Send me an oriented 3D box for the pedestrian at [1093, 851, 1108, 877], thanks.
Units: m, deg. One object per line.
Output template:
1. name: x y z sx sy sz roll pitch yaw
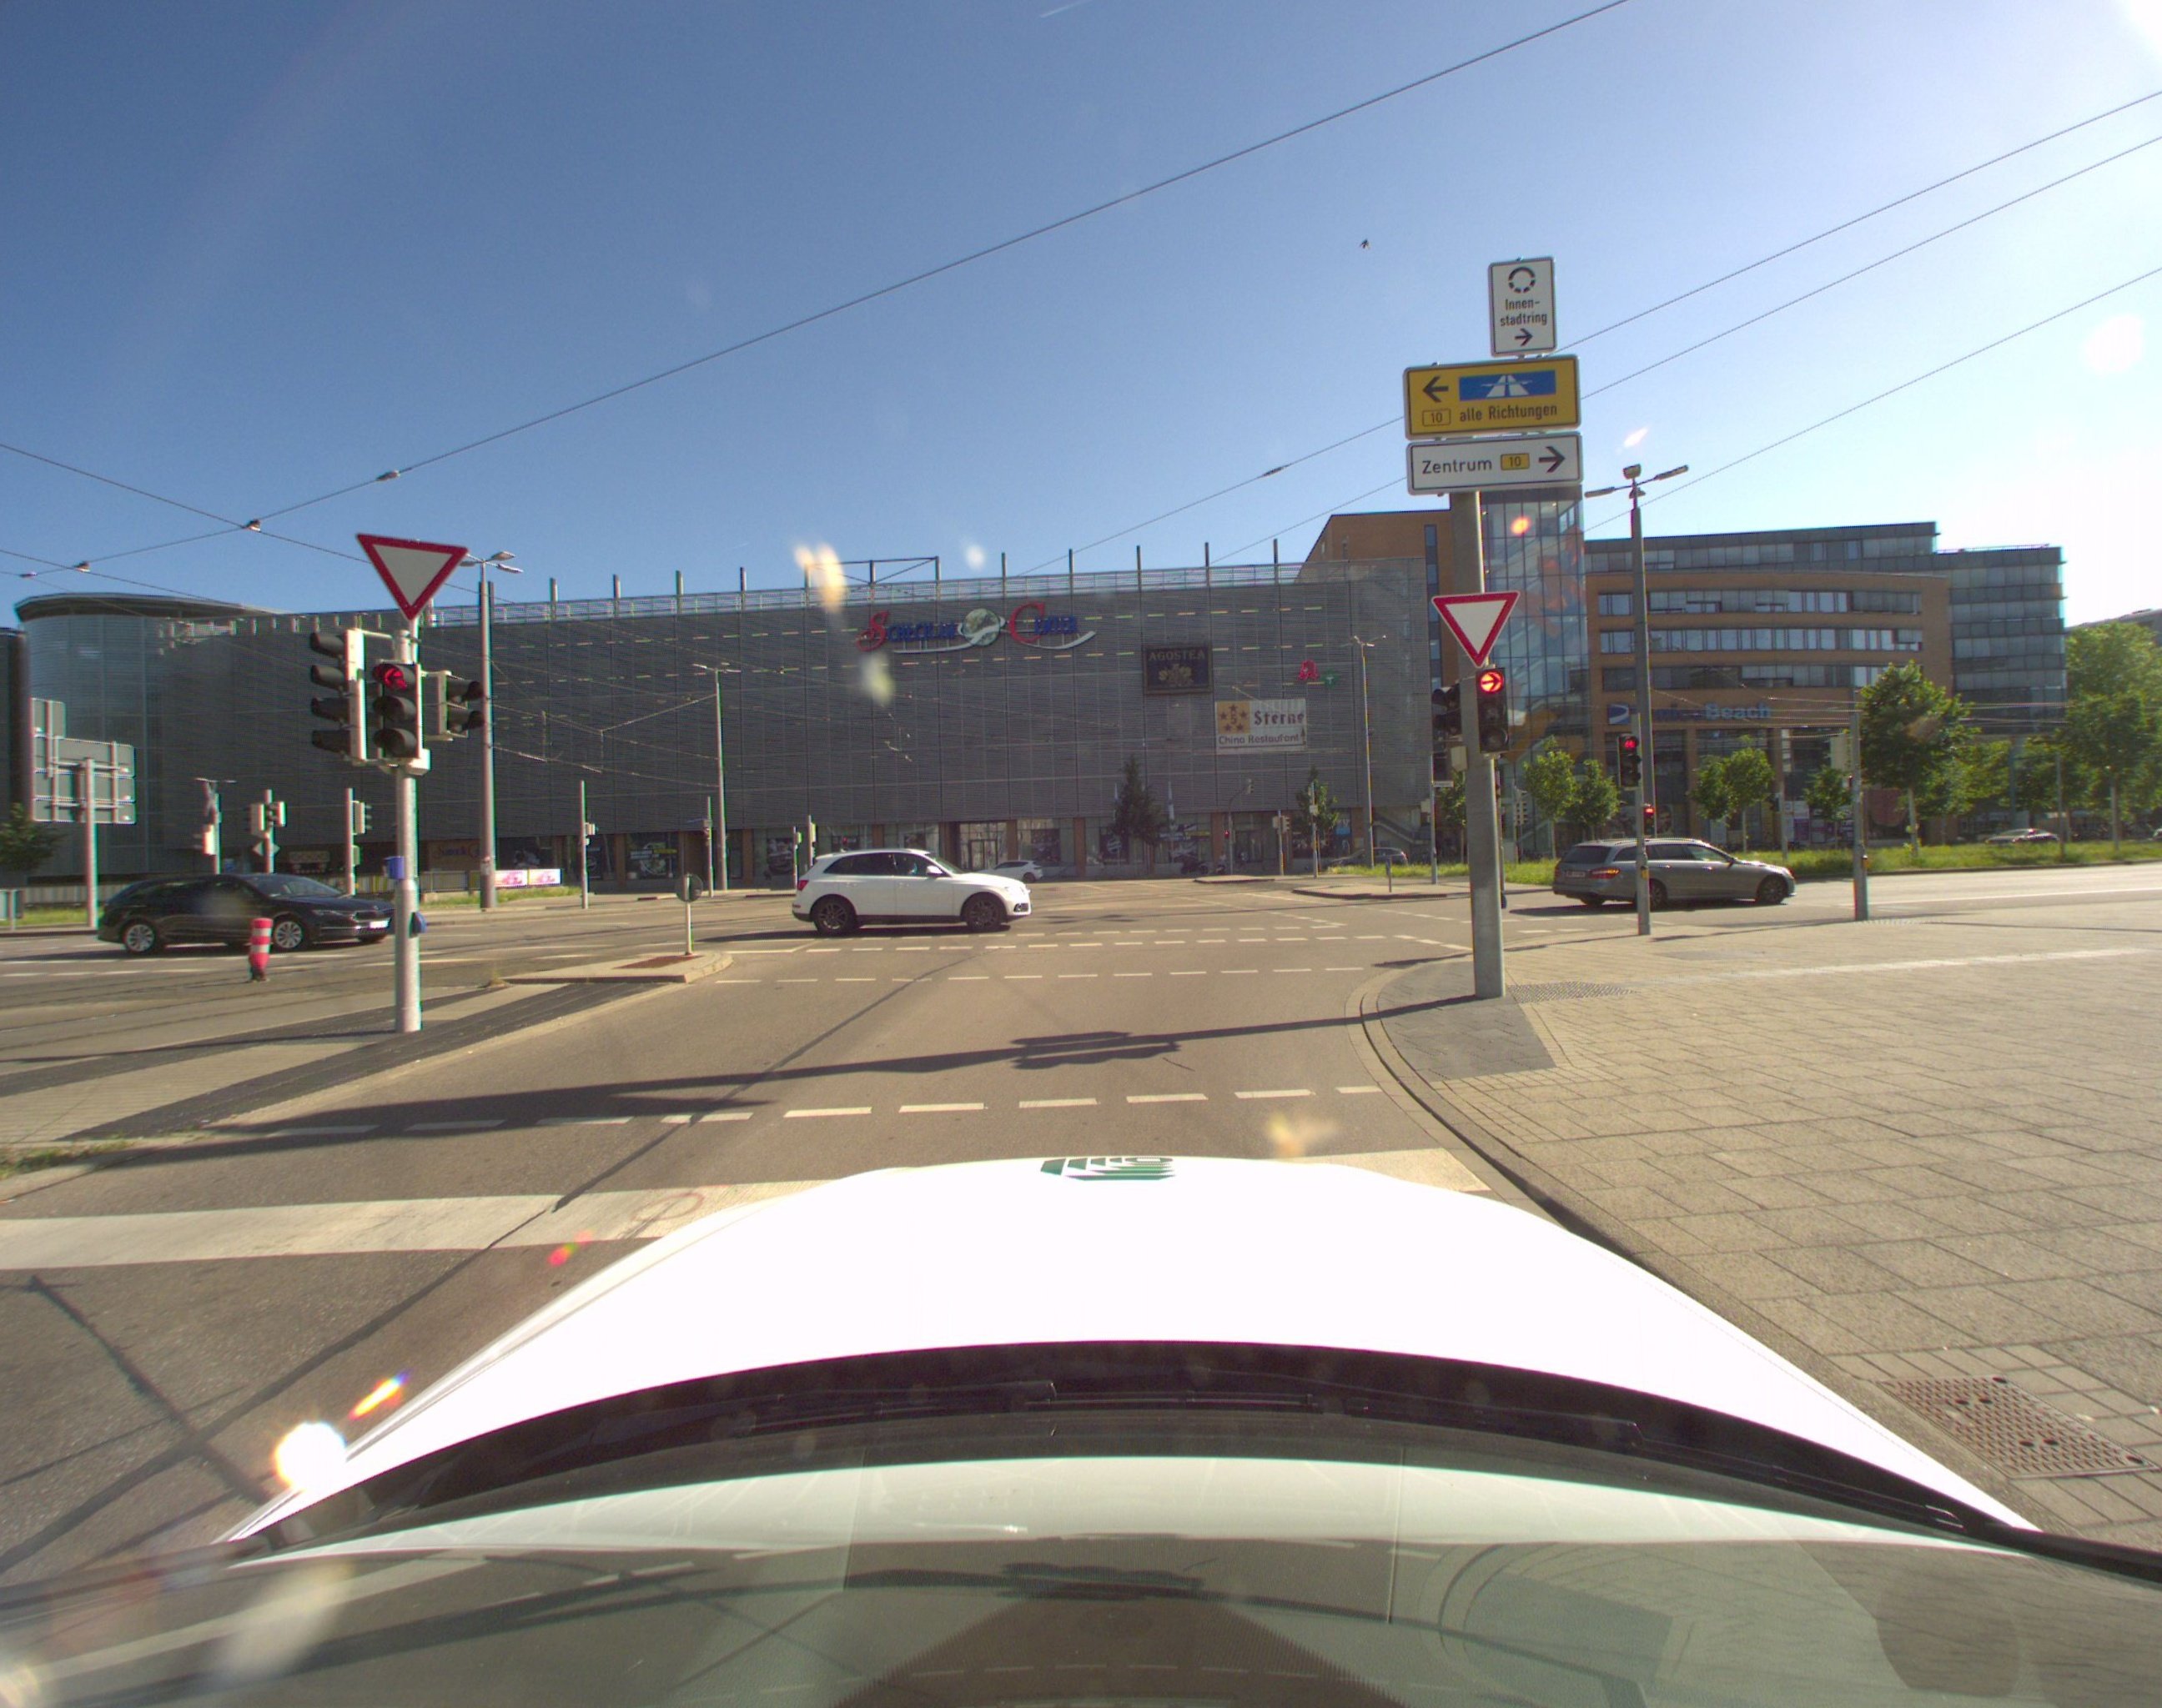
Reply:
1. pedestrian: 1.458 0.716 59.856 0.945 1.829 0.847 -3 -4 7

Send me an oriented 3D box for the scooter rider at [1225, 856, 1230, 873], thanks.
1. scooter rider: 9.901 0.708 54.944 0.286 1.200 0.387 -1 -1 12

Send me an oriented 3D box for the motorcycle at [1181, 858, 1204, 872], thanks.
1. motorcycle: 8.306 0.833 60.591 1.630 1.004 0.448 0 0 8

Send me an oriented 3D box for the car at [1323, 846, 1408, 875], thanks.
1. car: 15.877 0.350 45.615 4.132 1.470 1.841 2 -1 0

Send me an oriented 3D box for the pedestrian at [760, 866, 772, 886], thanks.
1. pedestrian: -24.282 1.694 62.824 0.654 1.601 0.597 -1 -1 20

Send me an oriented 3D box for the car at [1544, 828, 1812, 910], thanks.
1. car: 12.995 0.307 17.861 4.850 1.572 1.703 -2 0 -6

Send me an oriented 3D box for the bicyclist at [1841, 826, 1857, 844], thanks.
1. bicyclist: 59.981 -1.454 63.597 0.750 1.386 0.566 -2 1 1

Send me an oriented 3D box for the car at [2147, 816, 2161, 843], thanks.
1. car: 79.764 -1.820 58.611 4.326 1.863 1.835 -1 -1 -10

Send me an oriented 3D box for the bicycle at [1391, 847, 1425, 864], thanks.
1. bicycle: 24.337 0.114 60.614 2.247 1.296 0.606 0 -1 0

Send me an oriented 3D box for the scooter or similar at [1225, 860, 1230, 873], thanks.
1. scooter or similar: 9.914 0.871 55.002 0.293 0.873 1.007 -1 -1 12

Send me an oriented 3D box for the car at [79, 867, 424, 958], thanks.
1. car: -15.686 1.071 15.591 4.653 1.462 1.833 -2 0 0

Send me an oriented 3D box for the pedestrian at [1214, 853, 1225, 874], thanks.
1. pedestrian: 9.399 0.633 55.197 0.650 1.414 0.853 -1 -1 12

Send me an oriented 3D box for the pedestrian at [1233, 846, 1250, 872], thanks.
1. pedestrian: 11.631 0.345 59.168 1.007 1.828 1.037 -3 0 5

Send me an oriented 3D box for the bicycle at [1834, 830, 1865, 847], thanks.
1. bicycle: 60.030 -1.208 63.599 1.850 1.217 0.569 -2 1 1

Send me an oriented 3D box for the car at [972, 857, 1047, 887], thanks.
1. car: -4.273 1.080 49.381 4.274 1.645 1.841 2 -1 1

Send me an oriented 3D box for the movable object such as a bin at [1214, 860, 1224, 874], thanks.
1. movable object such as a bin: 9.266 0.884 54.734 0.608 0.904 0.972 -1 -1 12

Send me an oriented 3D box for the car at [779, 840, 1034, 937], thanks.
1. car: -3.298 0.641 16.209 4.659 1.707 1.935 -1 0 -4
